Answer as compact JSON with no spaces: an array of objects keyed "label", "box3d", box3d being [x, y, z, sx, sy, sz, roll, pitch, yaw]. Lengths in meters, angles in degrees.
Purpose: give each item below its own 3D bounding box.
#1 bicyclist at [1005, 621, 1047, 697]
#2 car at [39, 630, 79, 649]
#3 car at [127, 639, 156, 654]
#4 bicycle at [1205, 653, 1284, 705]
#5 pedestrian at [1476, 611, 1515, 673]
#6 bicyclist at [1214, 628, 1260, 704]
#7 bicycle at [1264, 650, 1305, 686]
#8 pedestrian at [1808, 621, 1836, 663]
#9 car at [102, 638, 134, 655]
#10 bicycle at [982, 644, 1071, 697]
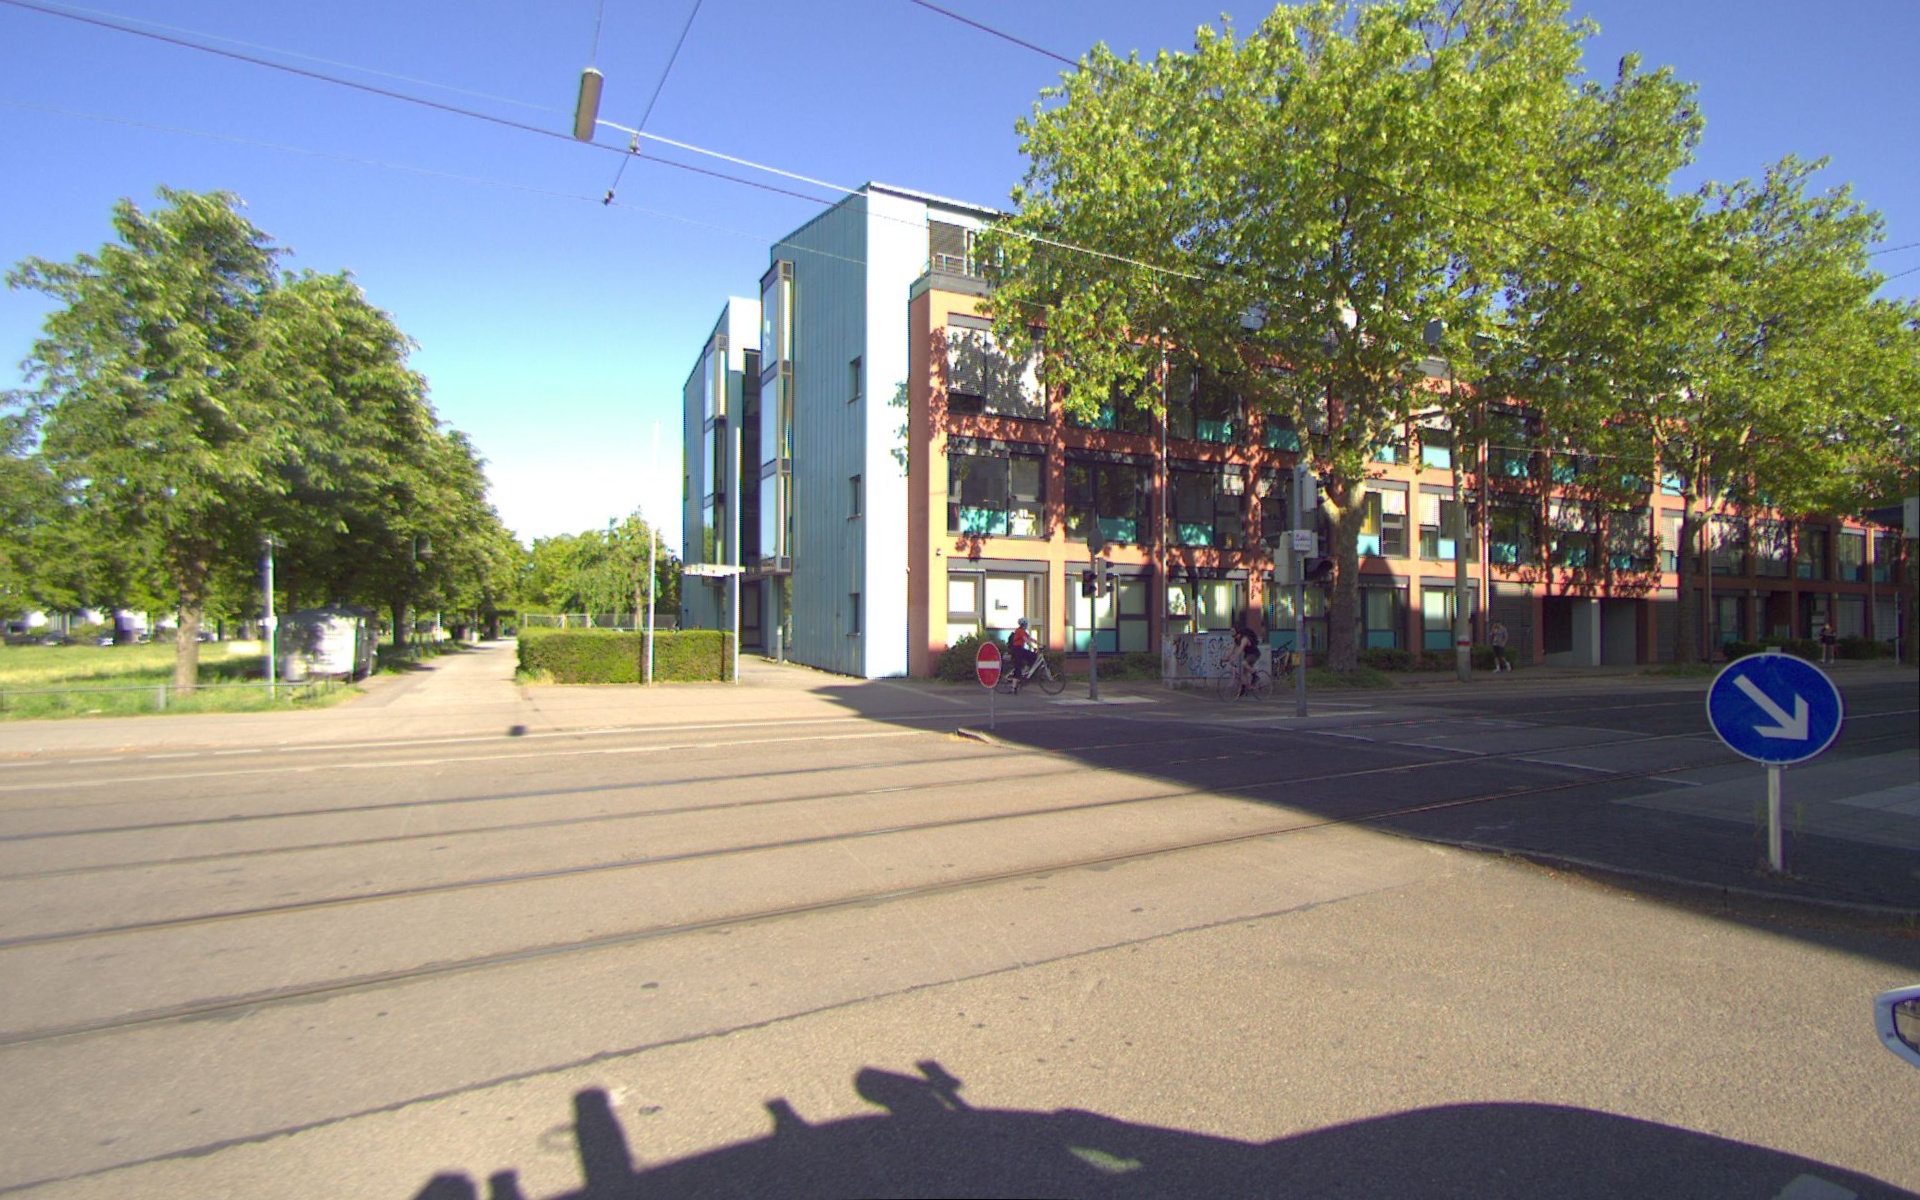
[{"label":"bicyclist","box3d":[1.517,1.349,23.115,0.914,1.715,0.606,0,1,-2]},{"label":"car","box3d":[-88.420,3.856,98.635,1.791,1.765,3.864,0,-2,-24]},{"label":"car","box3d":[-99.836,5.641,122.520,1.791,1.765,3.864,0,-2,-24]},{"label":"bicycle","box3d":[6.380,1.747,22.477,1.906,1.056,0.640,0,0,-36]},{"label":"pedestrian","box3d":[18.140,1.411,34.029,0.773,2.040,0.904,0,1,-35]},{"label":"bicyclist","box3d":[6.163,1.451,22.318,0.773,1.633,0.640,0,1,-35]},{"label":"bicycle","box3d":[8.650,1.798,26.751,0.514,0.918,1.537,-1,-2,39]},{"label":"pedestrian","box3d":[36.980,1.793,43.111,0.889,1.741,0.623,0,1,-28]},{"label":"car","box3d":[-94.395,5.194,112.663,1.791,1.765,3.864,0,-2,-24]},{"label":"bicycle","box3d":[1.517,1.616,23.117,1.996,1.144,0.633,0,0,-2]}]
